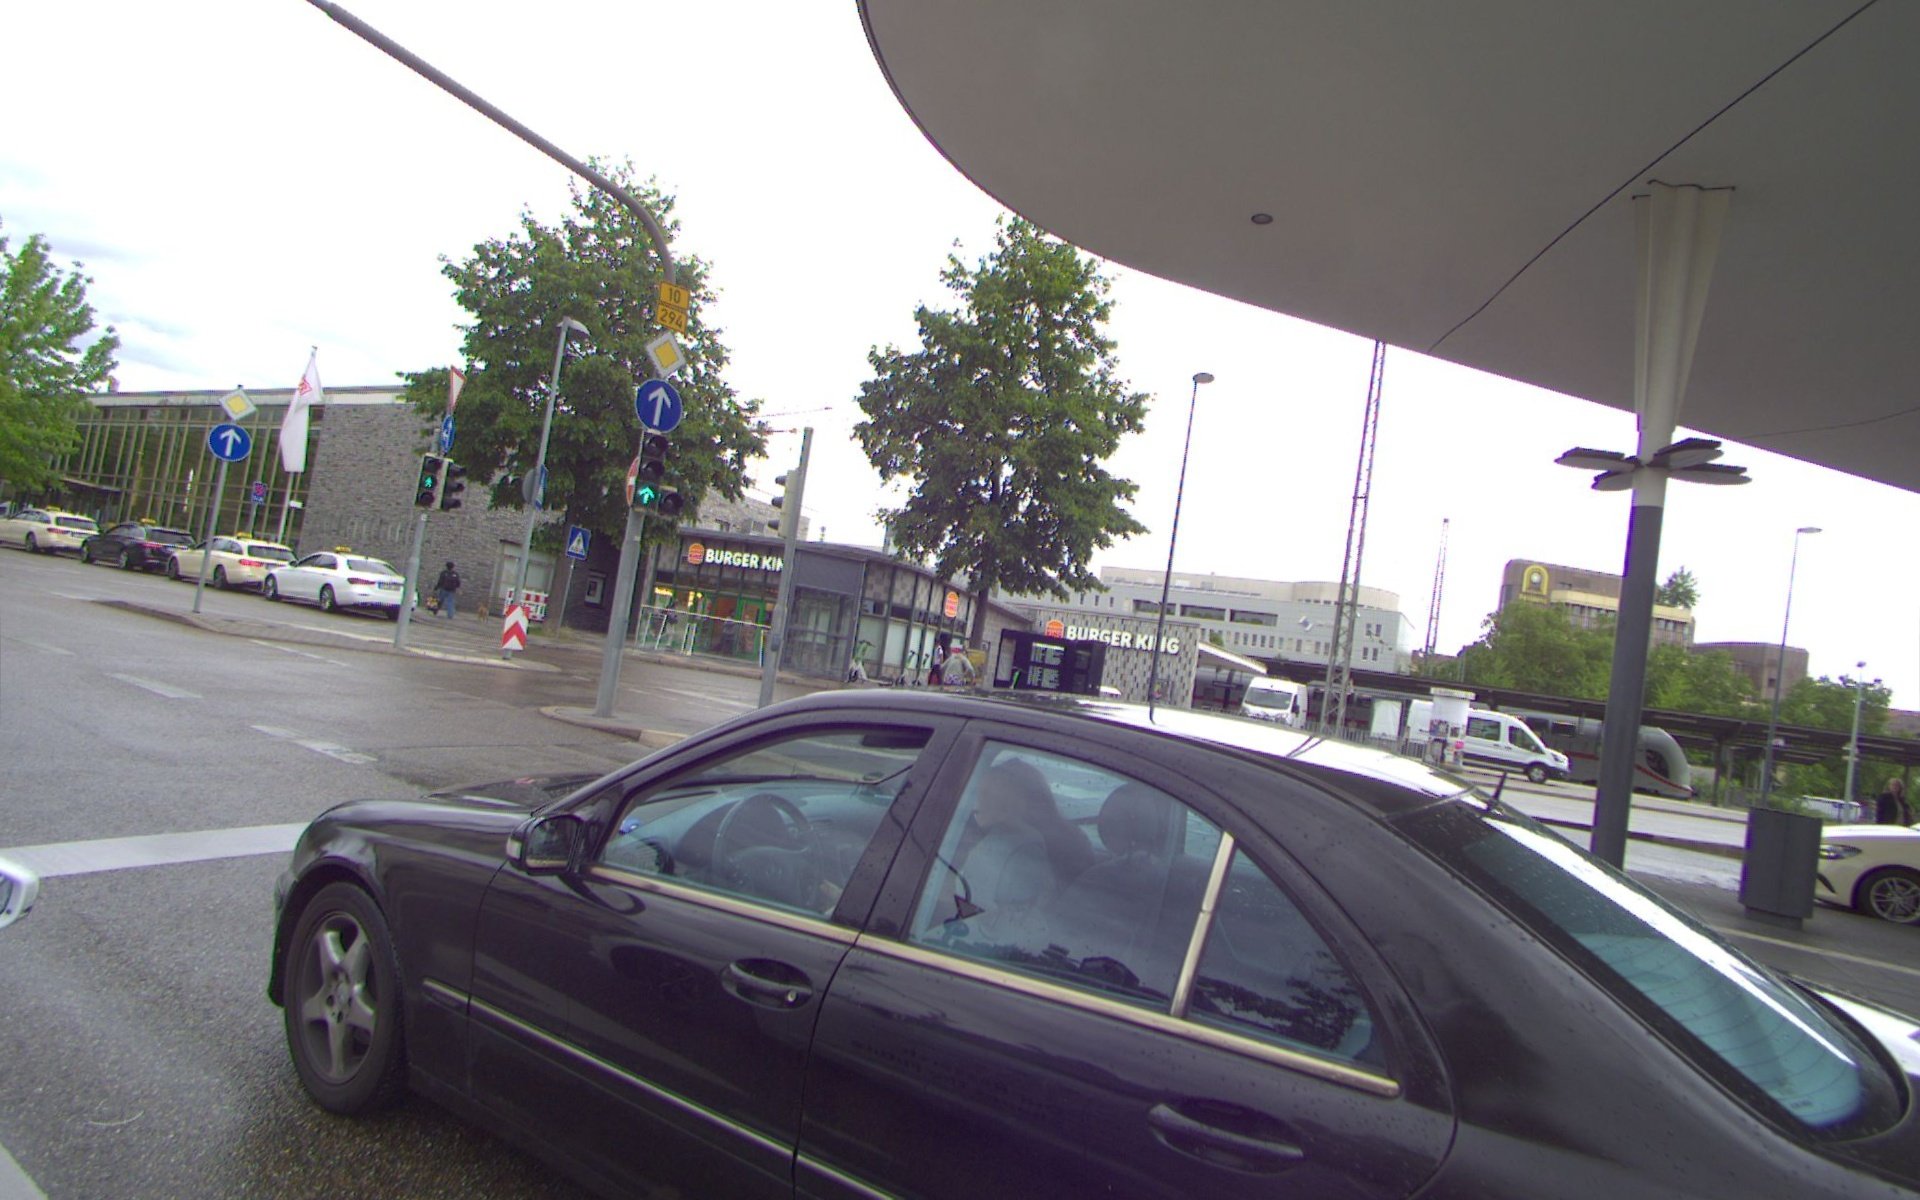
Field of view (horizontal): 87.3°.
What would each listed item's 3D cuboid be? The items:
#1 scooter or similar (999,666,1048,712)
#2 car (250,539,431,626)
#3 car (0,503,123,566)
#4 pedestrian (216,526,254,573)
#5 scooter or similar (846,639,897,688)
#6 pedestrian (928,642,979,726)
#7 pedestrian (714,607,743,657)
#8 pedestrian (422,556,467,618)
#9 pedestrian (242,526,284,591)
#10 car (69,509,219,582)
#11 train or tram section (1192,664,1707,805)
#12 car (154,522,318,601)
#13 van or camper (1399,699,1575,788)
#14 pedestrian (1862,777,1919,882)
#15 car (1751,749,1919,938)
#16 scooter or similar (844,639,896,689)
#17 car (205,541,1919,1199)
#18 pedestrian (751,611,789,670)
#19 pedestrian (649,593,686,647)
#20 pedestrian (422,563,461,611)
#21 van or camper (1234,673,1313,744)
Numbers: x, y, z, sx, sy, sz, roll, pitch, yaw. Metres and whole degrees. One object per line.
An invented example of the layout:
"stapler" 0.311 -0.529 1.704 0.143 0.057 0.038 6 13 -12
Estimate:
"scooter or similar" 1.865 2.625 29.709 1.280 1.196 0.333 7 -1 -1
"car" -15.880 -0.469 25.727 4.822 1.618 1.883 6 -2 32
"car" -31.624 -2.331 34.852 4.869 1.618 2.000 7 -2 24
"pedestrian" -26.732 -1.866 37.099 0.698 1.598 0.770 7 -1 28
"scooter or similar" -2.476 1.782 28.306 1.280 1.196 0.333 7 -1 -1
"pedestrian" -0.122 1.667 20.167 0.824 1.547 0.638 7 -1 2
"pedestrian" -8.259 1.146 35.912 0.712 1.687 0.794 7 -1 -20
"pedestrian" -14.700 -0.359 28.709 0.785 1.645 0.721 7 -1 -12
"pedestrian" -24.991 -1.499 36.076 0.710 2.189 0.796 6 -1 30
"car" -25.933 -1.748 31.936 4.875 1.616 1.999 7 -3 31
"train or tram section" 29.871 8.094 64.950 28.824 4.230 4.599 6 -2 32
"car" -20.741 -1.111 28.766 4.877 1.618 1.997 7 -2 32
"van or camper" 20.554 5.528 39.394 5.768 2.462 1.997 6 -2 32
"pedestrian" 16.046 3.910 17.232 0.638 1.614 0.732 8 -1 -44
"car" 11.395 2.818 10.591 4.467 1.700 1.997 6 -2 32
"scooter or similar" -2.472 1.759 27.704 1.280 1.196 0.333 7 -1 -1
"car" 0.135 0.844 2.569 4.378 1.482 1.698 6 -2 32
"pedestrian" -5.945 1.256 31.447 0.762 1.689 0.645 9 3 10
"pedestrian" -9.820 0.677 33.748 0.786 1.687 0.719 6 -1 42
"pedestrian" -17.579 -0.435 34.135 0.709 1.494 0.798 7 -1 1
"van or camper" 12.992 4.422 41.404 2.127 2.461 5.864 7 -2 25
